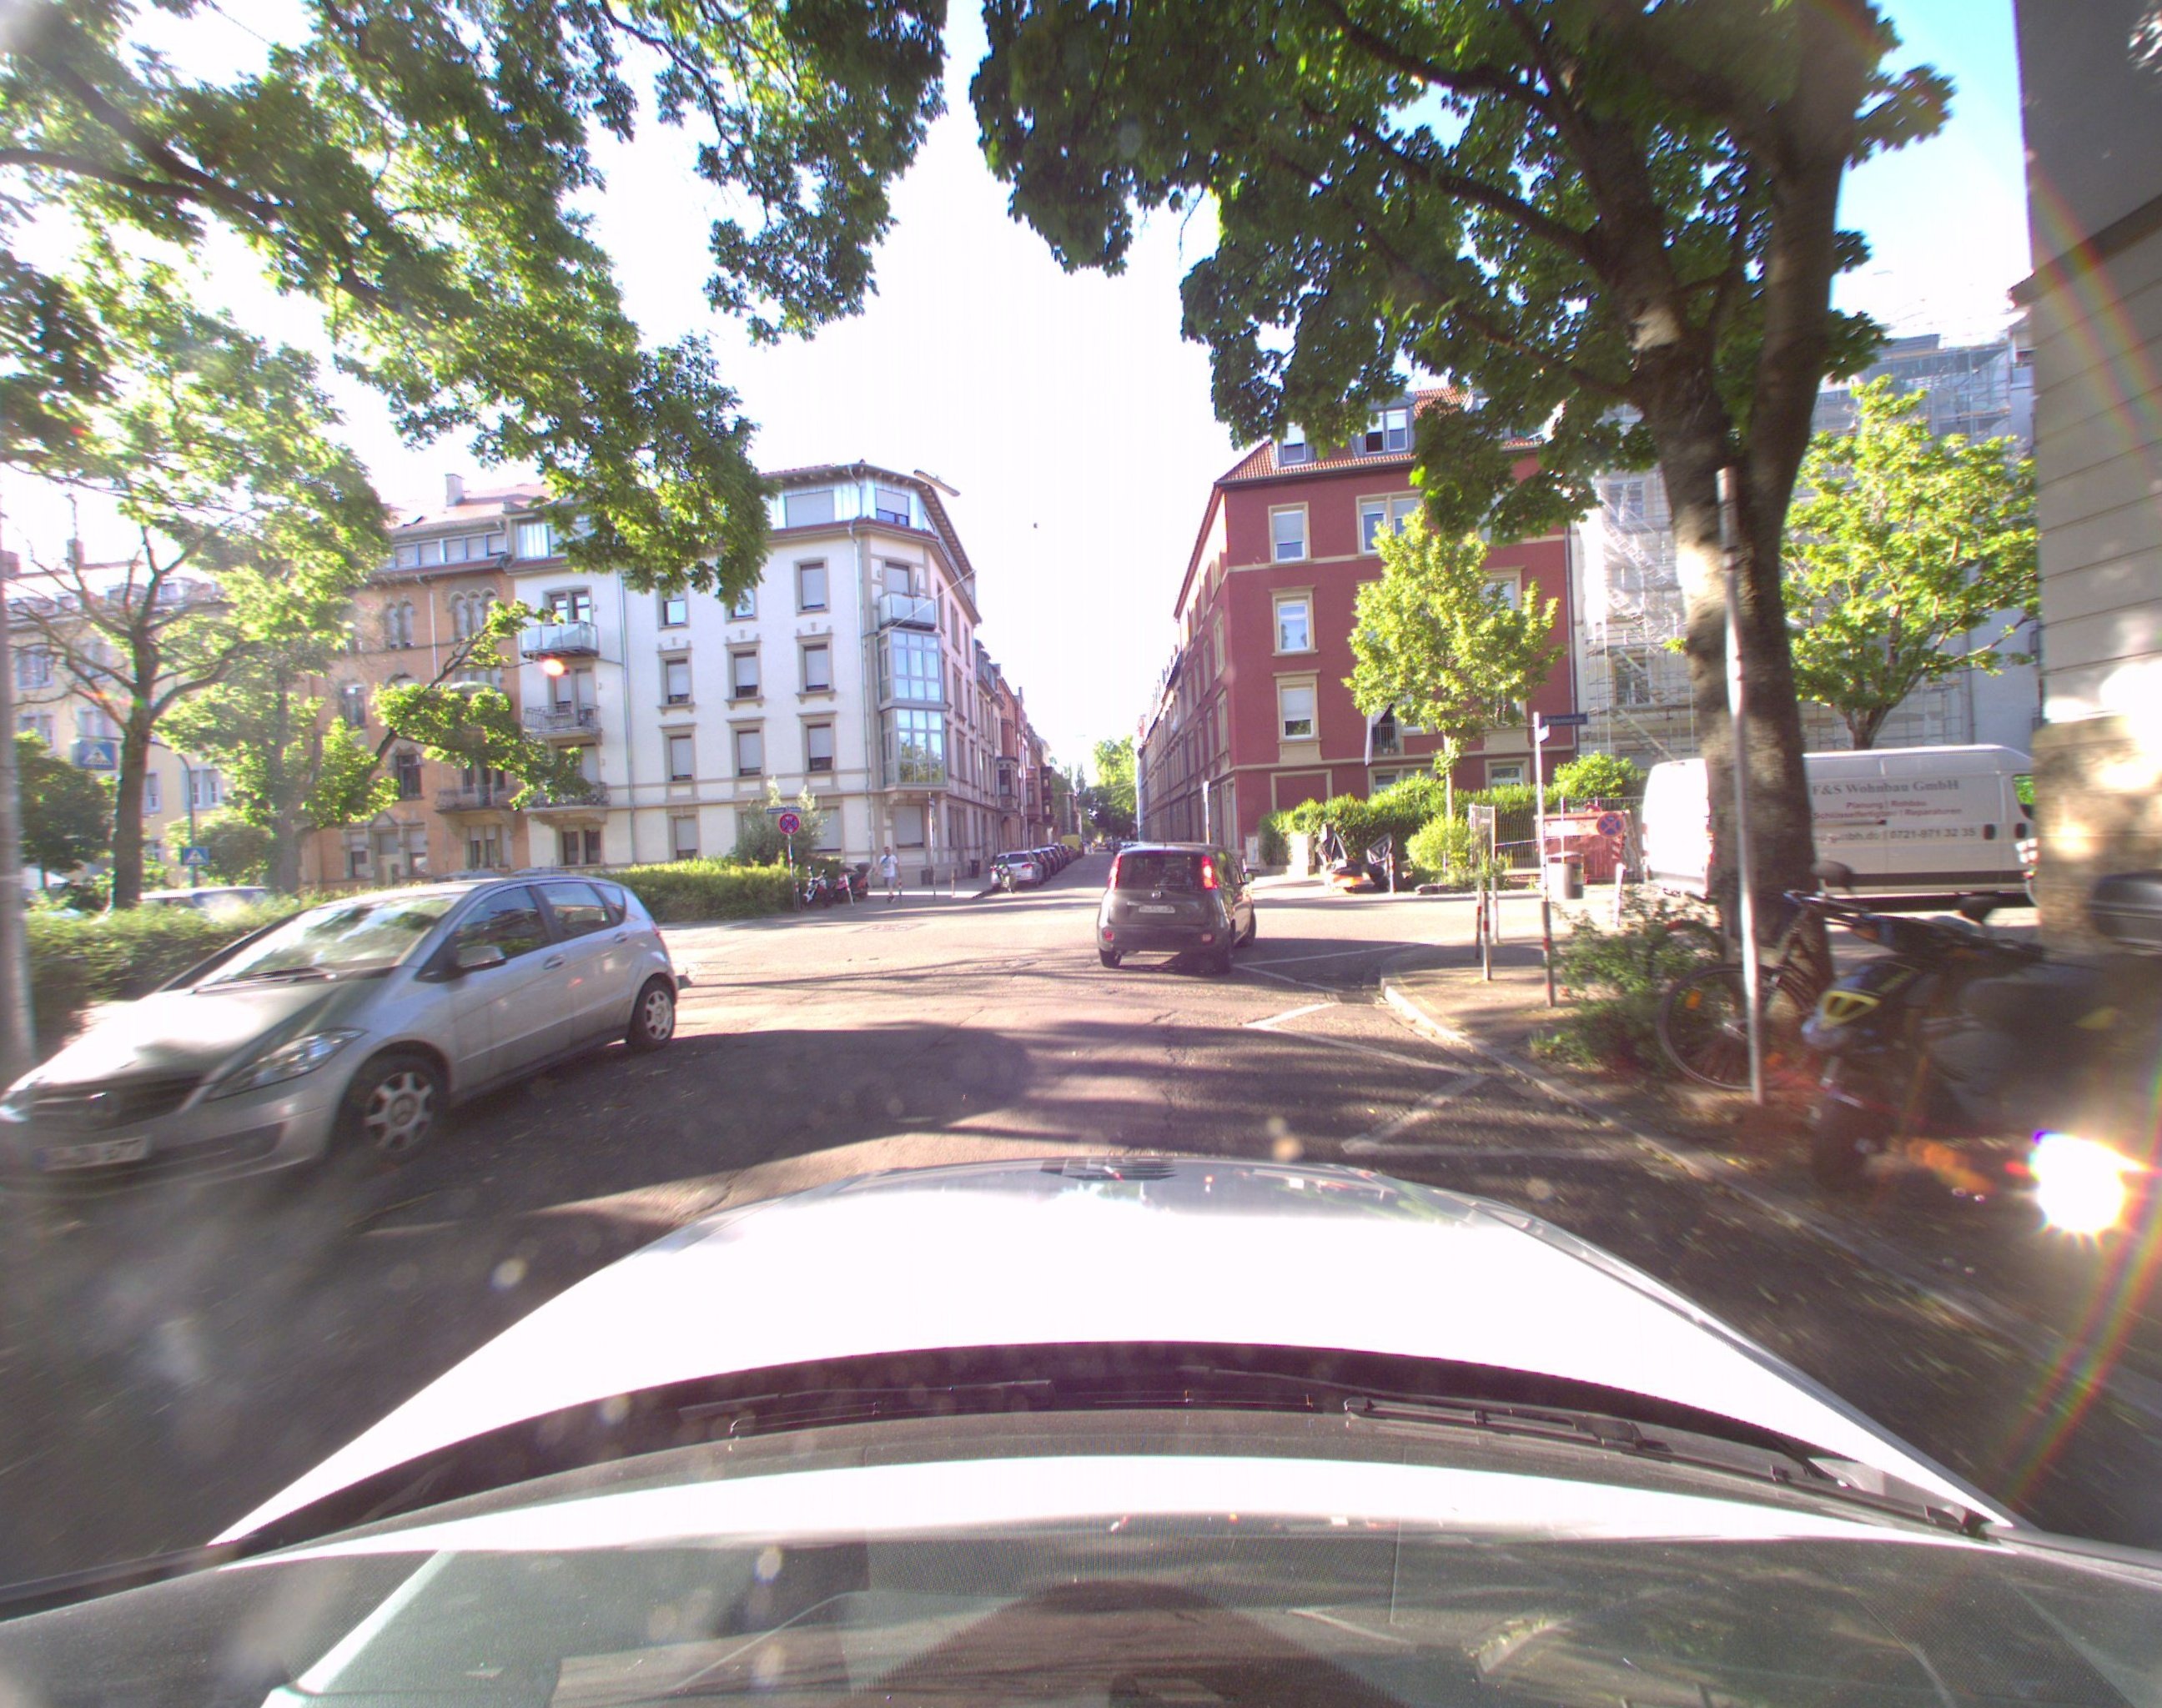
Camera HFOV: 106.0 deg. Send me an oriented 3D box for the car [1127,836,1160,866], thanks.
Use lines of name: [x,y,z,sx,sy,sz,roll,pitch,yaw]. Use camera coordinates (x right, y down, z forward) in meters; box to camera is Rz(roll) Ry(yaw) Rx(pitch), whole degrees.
car: [3.441,-0.216,45.165,1.656,1.505,3.760,-2,1,3]

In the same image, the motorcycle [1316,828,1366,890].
motorcycle: [6.682,0.091,21.071,1.013,1.403,2.201,-3,3,14]

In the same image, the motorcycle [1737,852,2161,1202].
motorcycle: [3.874,0.687,3.532,1.497,1.266,0.619,-4,1,0]

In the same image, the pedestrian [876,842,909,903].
pedestrian: [-5.900,0.568,25.459,0.718,1.839,0.629,-2,1,12]

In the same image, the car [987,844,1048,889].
car: [-2.453,0.441,32.235,1.790,1.431,3.928,-7,1,3]

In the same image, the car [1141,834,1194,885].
car: [3.089,0.153,29.670,1.656,1.668,3.760,-2,1,3]

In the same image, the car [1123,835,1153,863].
car: [3.451,-0.335,49.757,1.656,1.532,3.760,-2,1,3]

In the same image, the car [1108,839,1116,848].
car: [5.814,-1.925,153.648,1.362,1.617,3.416,-3,1,2]

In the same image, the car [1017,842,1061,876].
car: [-2.175,0.237,43.539,1.818,1.467,3.928,-7,1,3]

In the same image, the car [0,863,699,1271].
car: [-4.491,0.994,5.558,1.691,1.550,3.920,-6,1,1]

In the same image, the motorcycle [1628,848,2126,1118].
motorcycle: [4.093,0.675,4.339,1.836,1.266,0.507,-4,1,16]

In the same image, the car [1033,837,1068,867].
car: [-1.986,-0.158,53.797,1.768,1.698,3.928,-7,1,3]

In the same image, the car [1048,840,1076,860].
car: [-1.634,-0.394,70.743,1.954,1.478,3.928,-7,1,3]

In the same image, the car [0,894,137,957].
car: [-31.191,2.162,24.547,3.962,1.595,1.714,-3,1,10]

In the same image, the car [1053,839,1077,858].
car: [-1.490,-0.558,77.752,1.954,1.478,3.928,-7,1,3]

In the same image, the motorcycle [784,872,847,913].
motorcycle: [-7.640,1.087,23.522,0.683,0.985,1.831,1,3,22]

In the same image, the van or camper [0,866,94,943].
van or camper: [-40.007,1.932,29.521,1.982,2.636,4.935,-3,1,9]

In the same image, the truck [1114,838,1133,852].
truck: [4.825,-1.082,93.064,1.986,1.456,4.002,-3,1,2]

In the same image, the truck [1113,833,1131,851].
truck: [4.920,-1.512,98.440,1.986,1.991,4.002,-3,1,2]

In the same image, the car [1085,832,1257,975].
car: [1.342,0.523,10.862,1.620,1.550,3.280,-1,2,18]

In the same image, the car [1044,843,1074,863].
car: [-1.672,-0.114,63.088,1.954,1.224,3.928,-7,1,3]

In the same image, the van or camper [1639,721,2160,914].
van or camper: [12.405,-0.535,12.826,5.552,2.444,2.152,-3,3,11]

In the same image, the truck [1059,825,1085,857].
truck: [-0.912,-1.355,84.834,2.062,2.925,5.071,-7,1,2]

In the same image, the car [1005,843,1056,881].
car: [-2.246,0.342,37.320,1.770,1.412,3.928,-7,1,3]

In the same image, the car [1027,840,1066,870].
car: [-1.993,0.026,48.639,1.821,1.478,3.928,-7,1,3]

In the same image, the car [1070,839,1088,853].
car: [-0.224,-1.013,100.104,1.954,1.478,3.928,-7,1,3]

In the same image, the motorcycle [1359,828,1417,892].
motorcycle: [7.645,0.102,20.404,0.821,1.404,2.564,-3,3,10]

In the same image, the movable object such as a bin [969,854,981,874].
movable object such as a bin: [-5.233,0.480,40.181,0.510,0.952,0.501,-3,1,-1]

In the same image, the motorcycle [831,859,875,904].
motorcycle: [-7.221,0.860,25.866,0.514,1.294,1.619,-2,2,15]

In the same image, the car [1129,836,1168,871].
car: [3.180,-0.054,38.765,1.656,1.505,3.760,-2,1,3]

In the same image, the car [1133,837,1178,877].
car: [3.058,0.085,34.167,1.656,1.505,3.760,-2,1,3]

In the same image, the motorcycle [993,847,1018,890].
motorcycle: [-2.690,0.493,28.941,0.696,1.460,1.746,-5,1,-8]

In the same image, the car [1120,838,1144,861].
car: [3.644,-0.342,58.847,1.656,1.505,3.760,-2,1,3]

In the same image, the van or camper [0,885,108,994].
van or camper: [-23.101,1.814,16.743,4.352,2.013,1.776,-3,1,7]
